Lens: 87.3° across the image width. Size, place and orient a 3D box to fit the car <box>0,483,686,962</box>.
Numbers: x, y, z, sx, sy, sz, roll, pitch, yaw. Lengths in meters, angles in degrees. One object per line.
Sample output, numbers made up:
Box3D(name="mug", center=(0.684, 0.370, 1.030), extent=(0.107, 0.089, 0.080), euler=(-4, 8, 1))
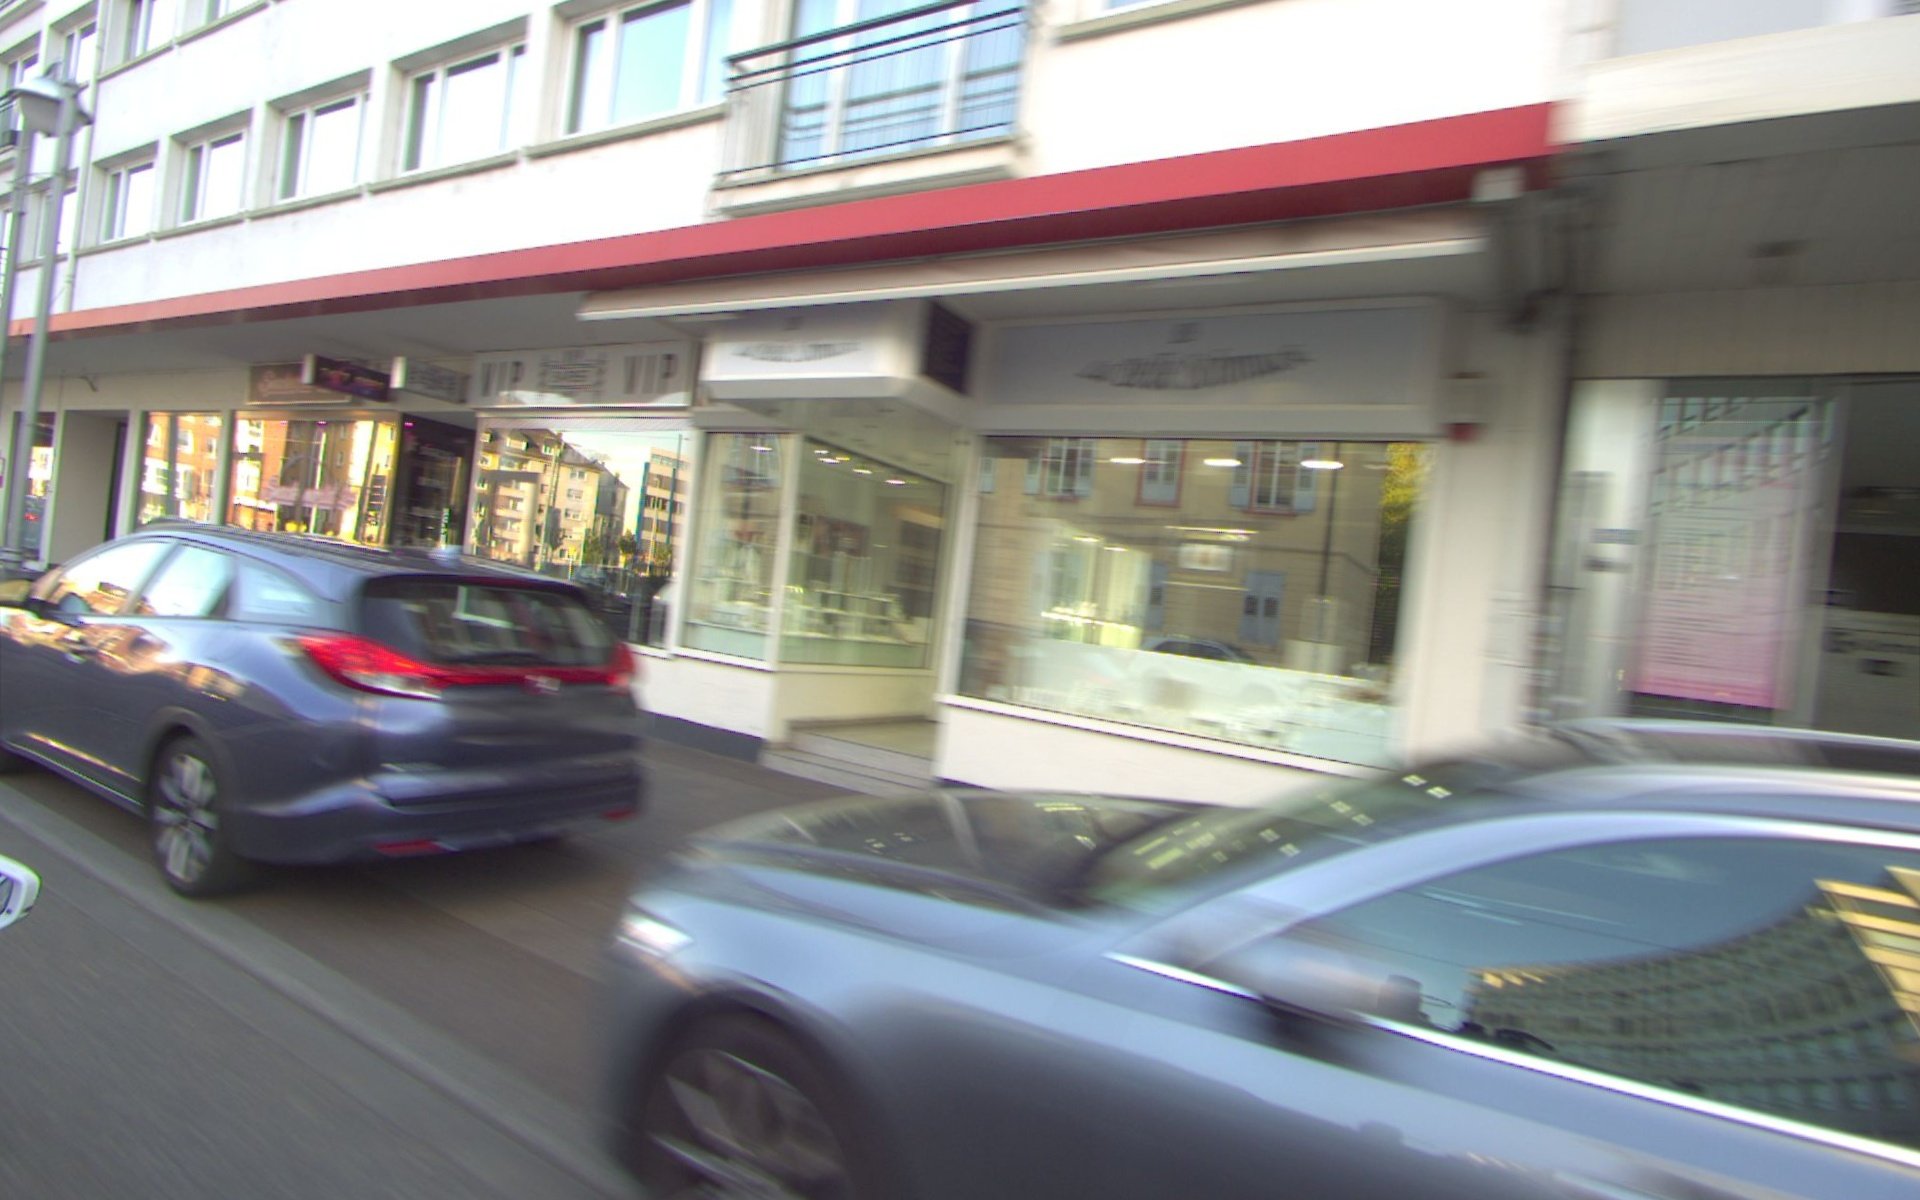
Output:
Box3D(name="car", center=(-3.639, 0.316, 5.297), extent=(4.232, 1.531, 1.736), euler=(7, 1, 32))

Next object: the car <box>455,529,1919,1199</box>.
Box3D(name="car", center=(1.317, 0.879, 1.938), extent=(4.632, 1.531, 1.791), euler=(7, 1, 31))
